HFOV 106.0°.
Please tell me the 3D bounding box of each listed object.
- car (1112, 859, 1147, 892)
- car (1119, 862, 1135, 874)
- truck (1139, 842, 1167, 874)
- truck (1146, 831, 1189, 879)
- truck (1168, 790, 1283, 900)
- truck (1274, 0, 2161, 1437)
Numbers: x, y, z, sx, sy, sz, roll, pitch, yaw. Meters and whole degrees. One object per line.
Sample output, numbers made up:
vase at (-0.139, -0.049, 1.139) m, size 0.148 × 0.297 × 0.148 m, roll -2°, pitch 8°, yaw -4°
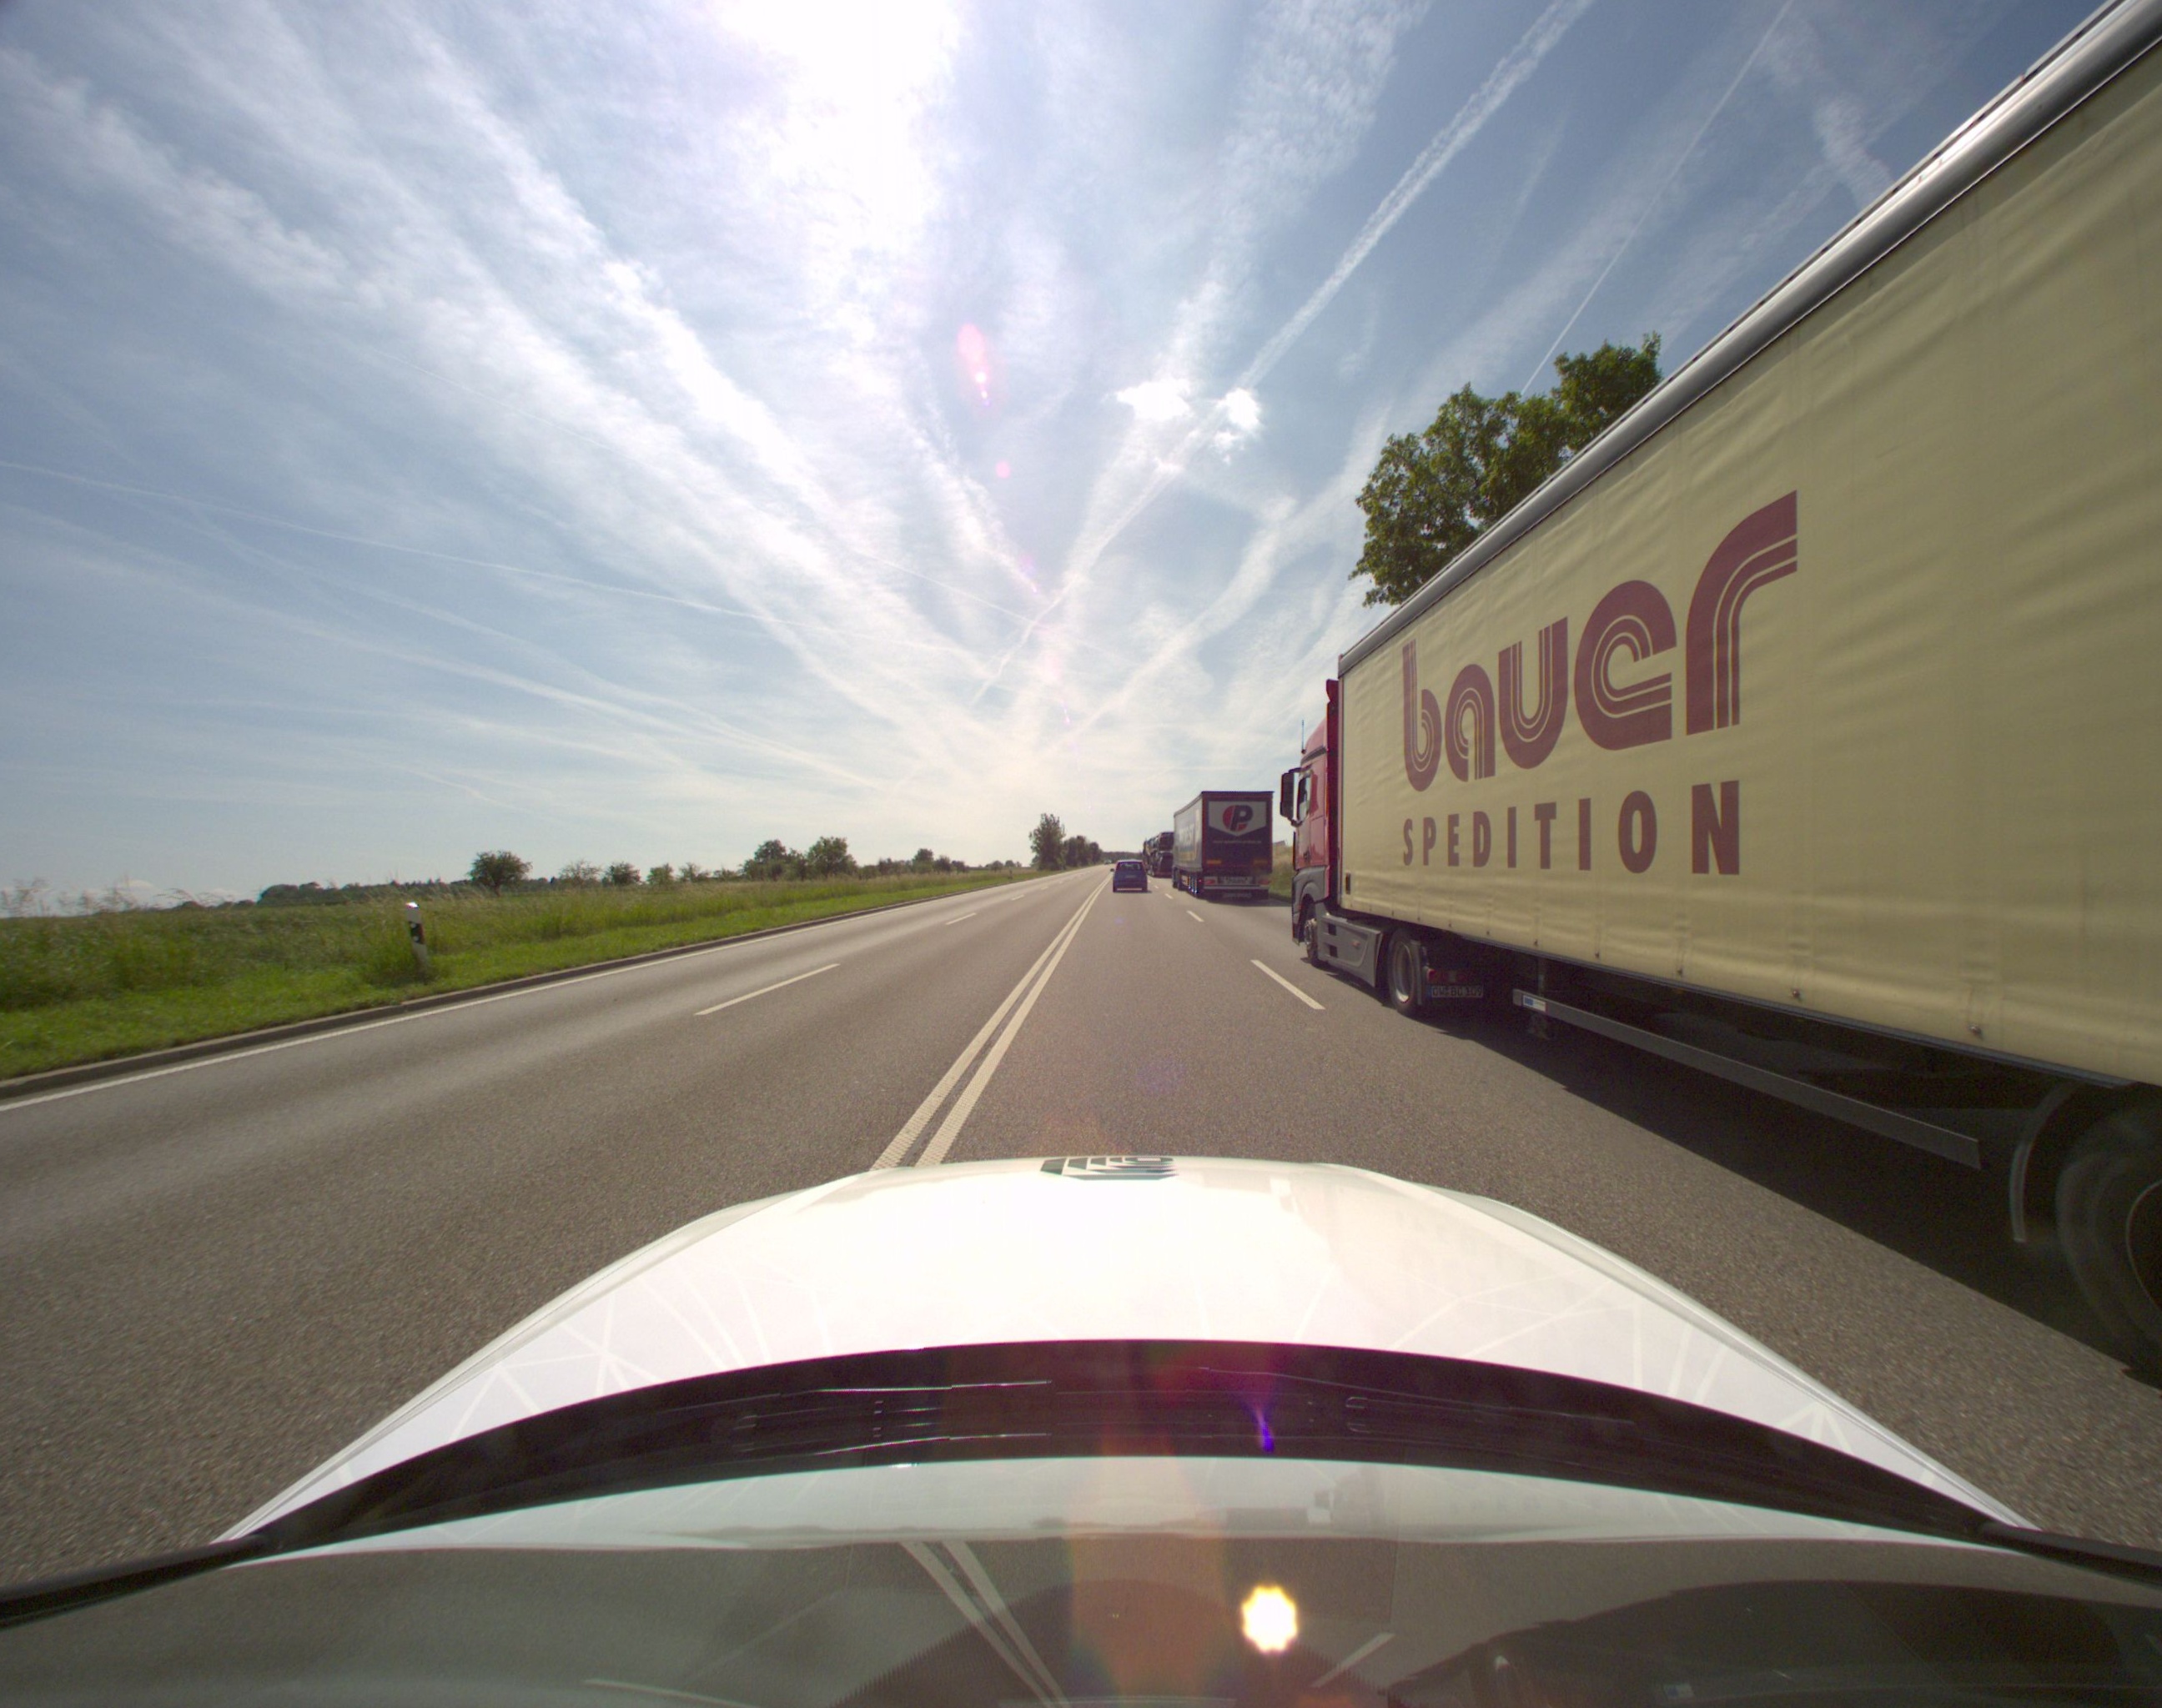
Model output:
car at (2.458, 1.048, 40.372) m, size 1.624 × 1.531 × 3.920 m, roll 0°, pitch -1°, yaw 5°
car at (5.258, 1.624, 93.831) m, size 1.697 × 1.376 × 4.604 m, roll 1°, pitch -1°, yaw 1°
truck at (9.455, 0.546, 108.441) m, size 3.034 × 3.910 × 18.410 m, roll 0°, pitch -1°, yaw 3°
truck at (7.910, 0.168, 76.588) m, size 3.034 × 3.910 × 18.410 m, roll 0°, pitch -1°, yaw 3°
truck at (5.984, -0.239, 36.851) m, size 3.035 × 3.910 × 15.623 m, roll 0°, pitch -1°, yaw 2°
truck at (4.355, -0.583, 4.931) m, size 2.995 × 4.180 × 16.721 m, roll 0°, pitch -1°, yaw 2°
